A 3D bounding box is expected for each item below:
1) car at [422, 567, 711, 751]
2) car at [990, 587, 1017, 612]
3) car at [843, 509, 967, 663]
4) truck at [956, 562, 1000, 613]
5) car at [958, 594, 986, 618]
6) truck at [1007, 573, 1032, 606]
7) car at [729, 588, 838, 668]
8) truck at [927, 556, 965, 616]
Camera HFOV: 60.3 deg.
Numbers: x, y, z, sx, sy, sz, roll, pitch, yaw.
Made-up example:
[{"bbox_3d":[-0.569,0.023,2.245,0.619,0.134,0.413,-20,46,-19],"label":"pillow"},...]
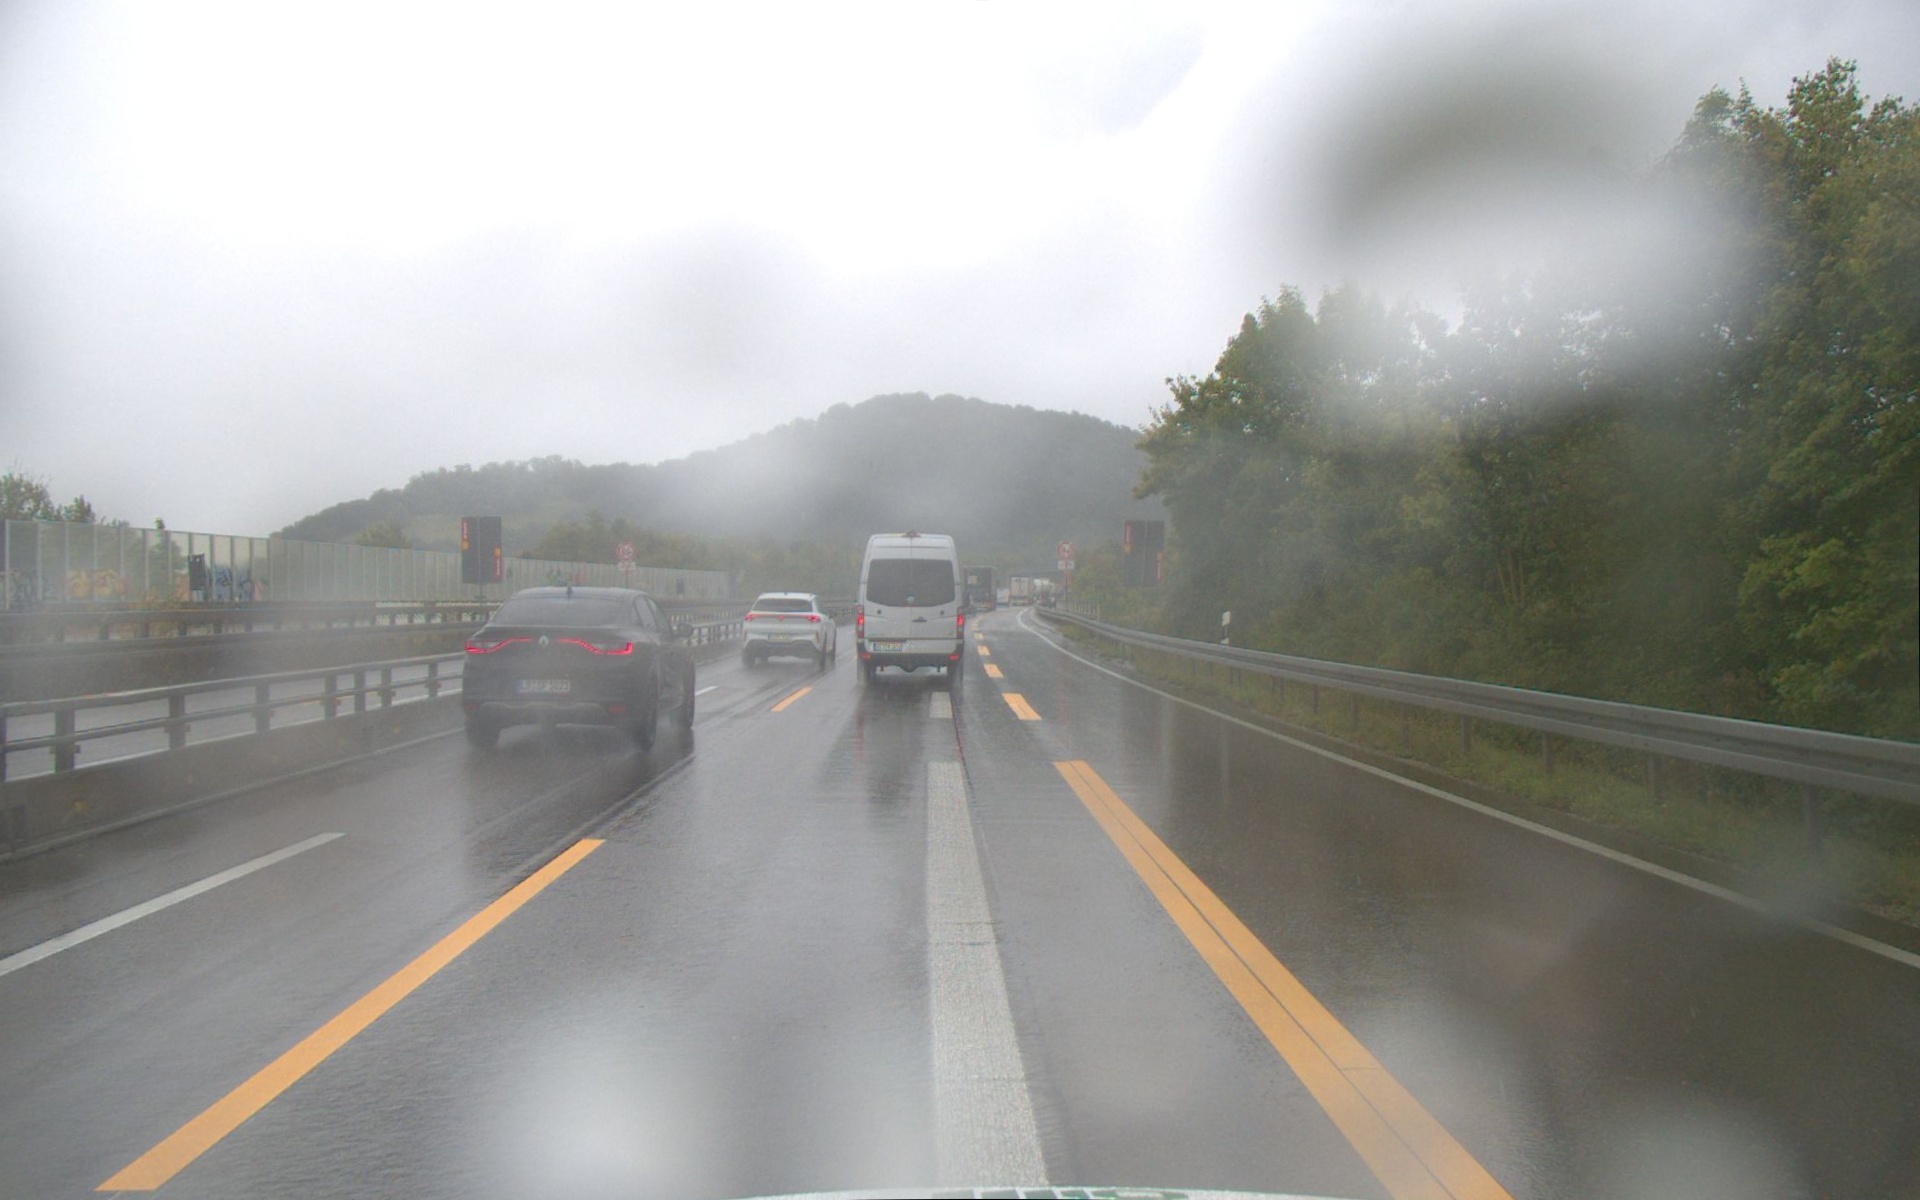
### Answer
[{"bbox_3d":[-3.871,0.543,17.089,1.953,1.613,4.412,1,0,-1],"label":"car"},{"bbox_3d":[5.251,-0.026,198.679,2.837,2.938,6.415,1,0,6],"label":"car"},{"bbox_3d":[-1.043,-0.230,31.274,2.102,2.616,5.387,1,0,-2],"label":"car"},{"bbox_3d":[1.713,-1.122,152.121,3.506,4.483,9.627,1,0,3],"label":"truck"},{"bbox_3d":[0.804,0.408,111.642,1.737,1.501,4.001,1,0,2],"label":"car"},{"bbox_3d":[8.418,-1.472,232.542,2.972,4.483,9.629,1,0,4],"label":"truck"},{"bbox_3d":[-3.887,0.606,37.184,1.953,1.646,4.795,1,0,-1],"label":"car"},{"bbox_3d":[-0.718,-0.708,92.226,1.953,3.163,8.498,1,0,0],"label":"truck"}]
